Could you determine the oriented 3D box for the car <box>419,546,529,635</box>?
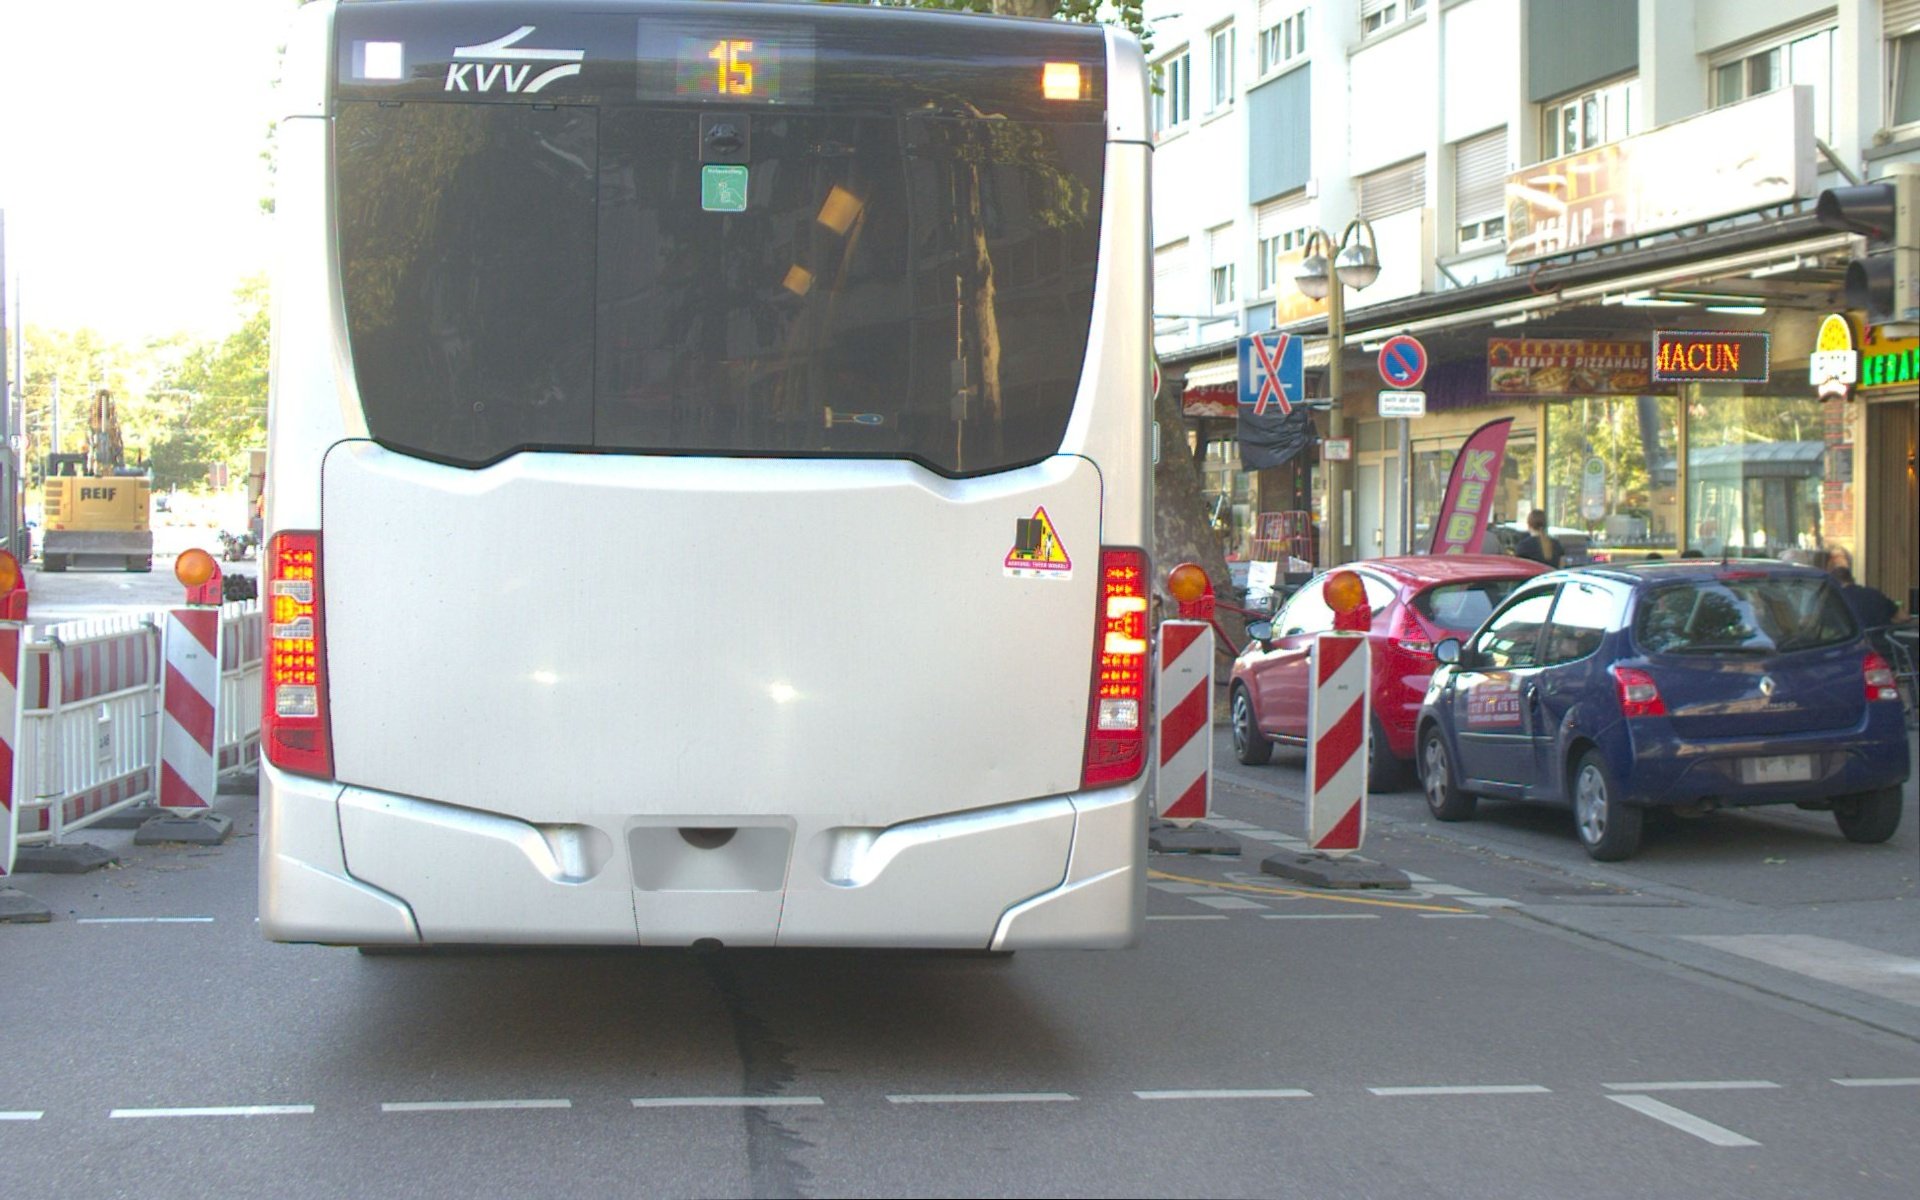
[{"bbox_3d":[-8.440,-0.195,59.955,1.755,1.459,4.001,0,1,-6],"label":"car"}]

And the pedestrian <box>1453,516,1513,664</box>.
[{"bbox_3d":[4.459,-0.092,29.330,0.387,1.252,0.393,0,1,-11],"label":"pedestrian"}]

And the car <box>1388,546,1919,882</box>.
[{"bbox_3d":[3.664,0.526,18.502,1.661,1.511,3.414,-3,2,-11],"label":"car"}]

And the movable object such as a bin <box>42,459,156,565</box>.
[{"bbox_3d":[-20.883,-2.128,83.588,2.493,2.468,5.357,0,1,-12],"label":"movable object such as a bin"}]

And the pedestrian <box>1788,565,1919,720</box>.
[{"bbox_3d":[6.588,0.306,25.300,0.705,1.105,0.766,0,1,-10],"label":"pedestrian"}]

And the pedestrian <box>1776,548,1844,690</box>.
[{"bbox_3d":[6.810,0.149,27.542,0.387,1.118,0.393,0,1,-11],"label":"pedestrian"}]

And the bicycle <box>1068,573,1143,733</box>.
[{"bbox_3d":[1.187,0.403,27.783,0.507,1.207,2.092,1,1,5],"label":"bicycle"}]

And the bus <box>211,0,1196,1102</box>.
[{"bbox_3d":[-1.207,-0.263,14.472,2.657,3.088,10.218,1,1,-6],"label":"bus"}]

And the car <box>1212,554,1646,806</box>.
[{"bbox_3d":[2.979,0.456,22.517,1.661,1.390,3.414,-3,2,-13],"label":"car"}]

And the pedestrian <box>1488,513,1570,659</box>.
[{"bbox_3d":[4.942,-0.125,29.869,0.592,1.252,0.393,0,1,-9],"label":"pedestrian"}]

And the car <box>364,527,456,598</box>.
[{"bbox_3d":[-11.630,-0.809,72.565,1.755,1.459,4.001,0,1,-11],"label":"car"}]
